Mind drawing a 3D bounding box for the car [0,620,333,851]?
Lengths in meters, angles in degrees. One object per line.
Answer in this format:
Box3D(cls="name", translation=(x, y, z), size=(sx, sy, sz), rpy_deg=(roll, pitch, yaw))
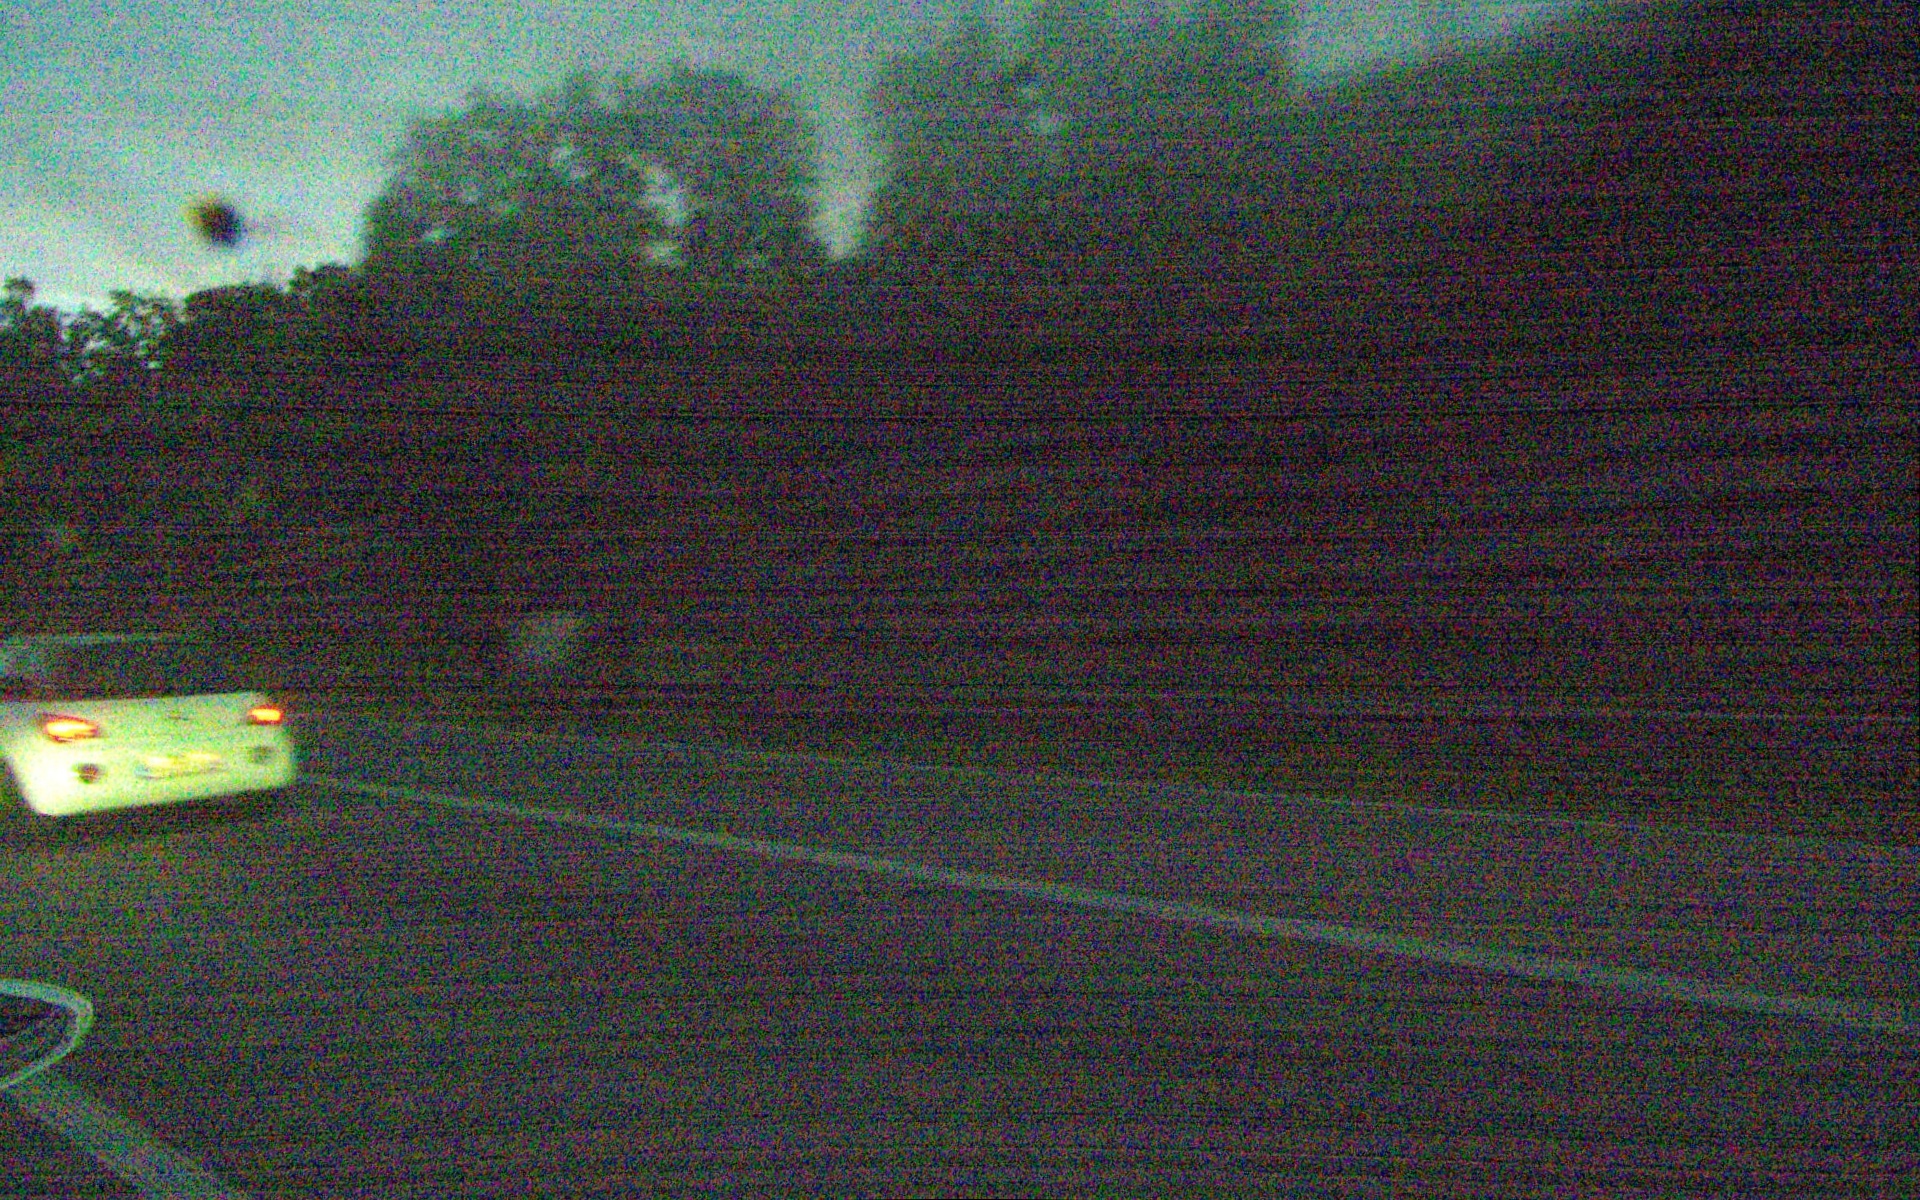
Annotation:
Box3D(cls="car", translation=(-7.350, 0.925, 8.416), size=(4.335, 1.495, 1.822), rpy_deg=(-1, -1, 32))
